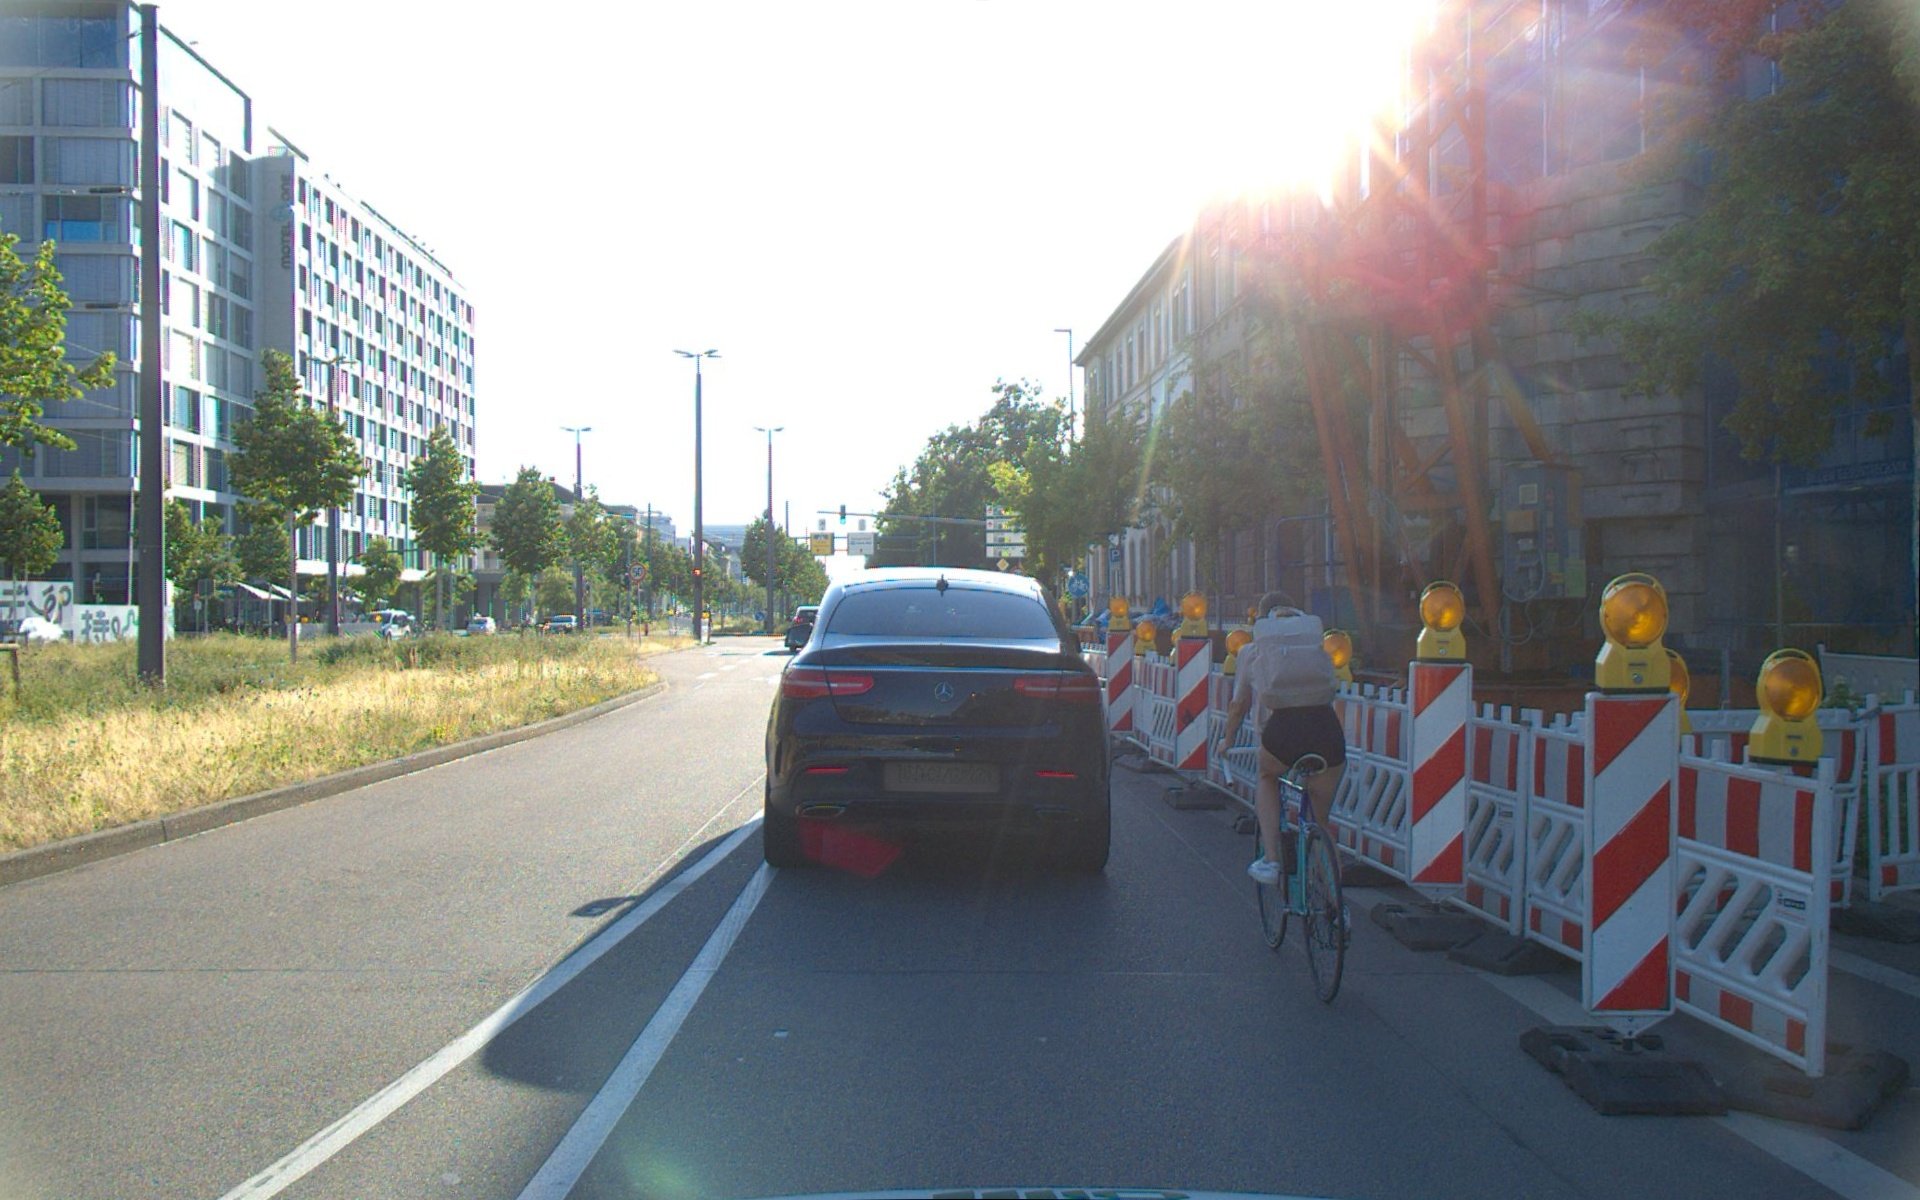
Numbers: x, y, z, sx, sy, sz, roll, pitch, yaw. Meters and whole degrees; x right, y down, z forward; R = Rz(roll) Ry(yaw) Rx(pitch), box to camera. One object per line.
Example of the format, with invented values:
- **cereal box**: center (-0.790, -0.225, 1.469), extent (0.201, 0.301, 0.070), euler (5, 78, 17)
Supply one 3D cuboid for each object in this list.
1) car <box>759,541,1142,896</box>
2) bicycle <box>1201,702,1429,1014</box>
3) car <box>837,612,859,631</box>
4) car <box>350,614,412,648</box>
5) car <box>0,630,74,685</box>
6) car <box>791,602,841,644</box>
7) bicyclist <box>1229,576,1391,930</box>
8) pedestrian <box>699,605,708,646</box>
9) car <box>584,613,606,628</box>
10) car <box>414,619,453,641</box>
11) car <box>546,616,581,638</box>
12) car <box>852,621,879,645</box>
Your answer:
- **car**: center (-0.068, 0.631, 10.542), extent (1.953, 1.803, 3.999), euler (1, -1, -1)
- **bicycle**: center (1.458, 1.021, 7.061), extent (0.502, 1.070, 1.724), euler (1, -1, -3)
- **car**: center (-9.262, 1.775, 137.188), extent (1.674, 1.467, 3.580), euler (1, -1, -3)
- **car**: center (-29.753, 1.583, 85.038), extent (1.753, 1.713, 3.639), euler (1, -1, 2)
- **car**: center (-31.198, 1.867, 54.800), extent (1.754, 1.713, 3.637), euler (1, -1, -2)
- **car**: center (-5.261, 0.822, 60.778), extent (1.674, 1.467, 3.580), euler (0, 0, -3)
- **bicyclist**: center (1.460, 0.618, 6.965), extent (0.512, 1.420, 0.614), euler (1, -1, -4)
- **pedestrian**: center (-11.233, 1.111, 72.417), extent (0.327, 1.794, 0.418), euler (1, -1, -3)
- **car**: center (-38.095, 2.156, 172.674), extent (1.674, 1.467, 3.580), euler (1, -1, -3)
- **car**: center (-36.589, 2.057, 114.959), extent (1.674, 1.467, 3.580), euler (1, -1, -3)
- **car**: center (-26.868, 1.803, 112.201), extent (1.674, 1.467, 3.580), euler (1, -1, -3)
- **car**: center (-5.987, 2.083, 105.430), extent (1.674, 1.467, 3.580), euler (1, -1, -3)
